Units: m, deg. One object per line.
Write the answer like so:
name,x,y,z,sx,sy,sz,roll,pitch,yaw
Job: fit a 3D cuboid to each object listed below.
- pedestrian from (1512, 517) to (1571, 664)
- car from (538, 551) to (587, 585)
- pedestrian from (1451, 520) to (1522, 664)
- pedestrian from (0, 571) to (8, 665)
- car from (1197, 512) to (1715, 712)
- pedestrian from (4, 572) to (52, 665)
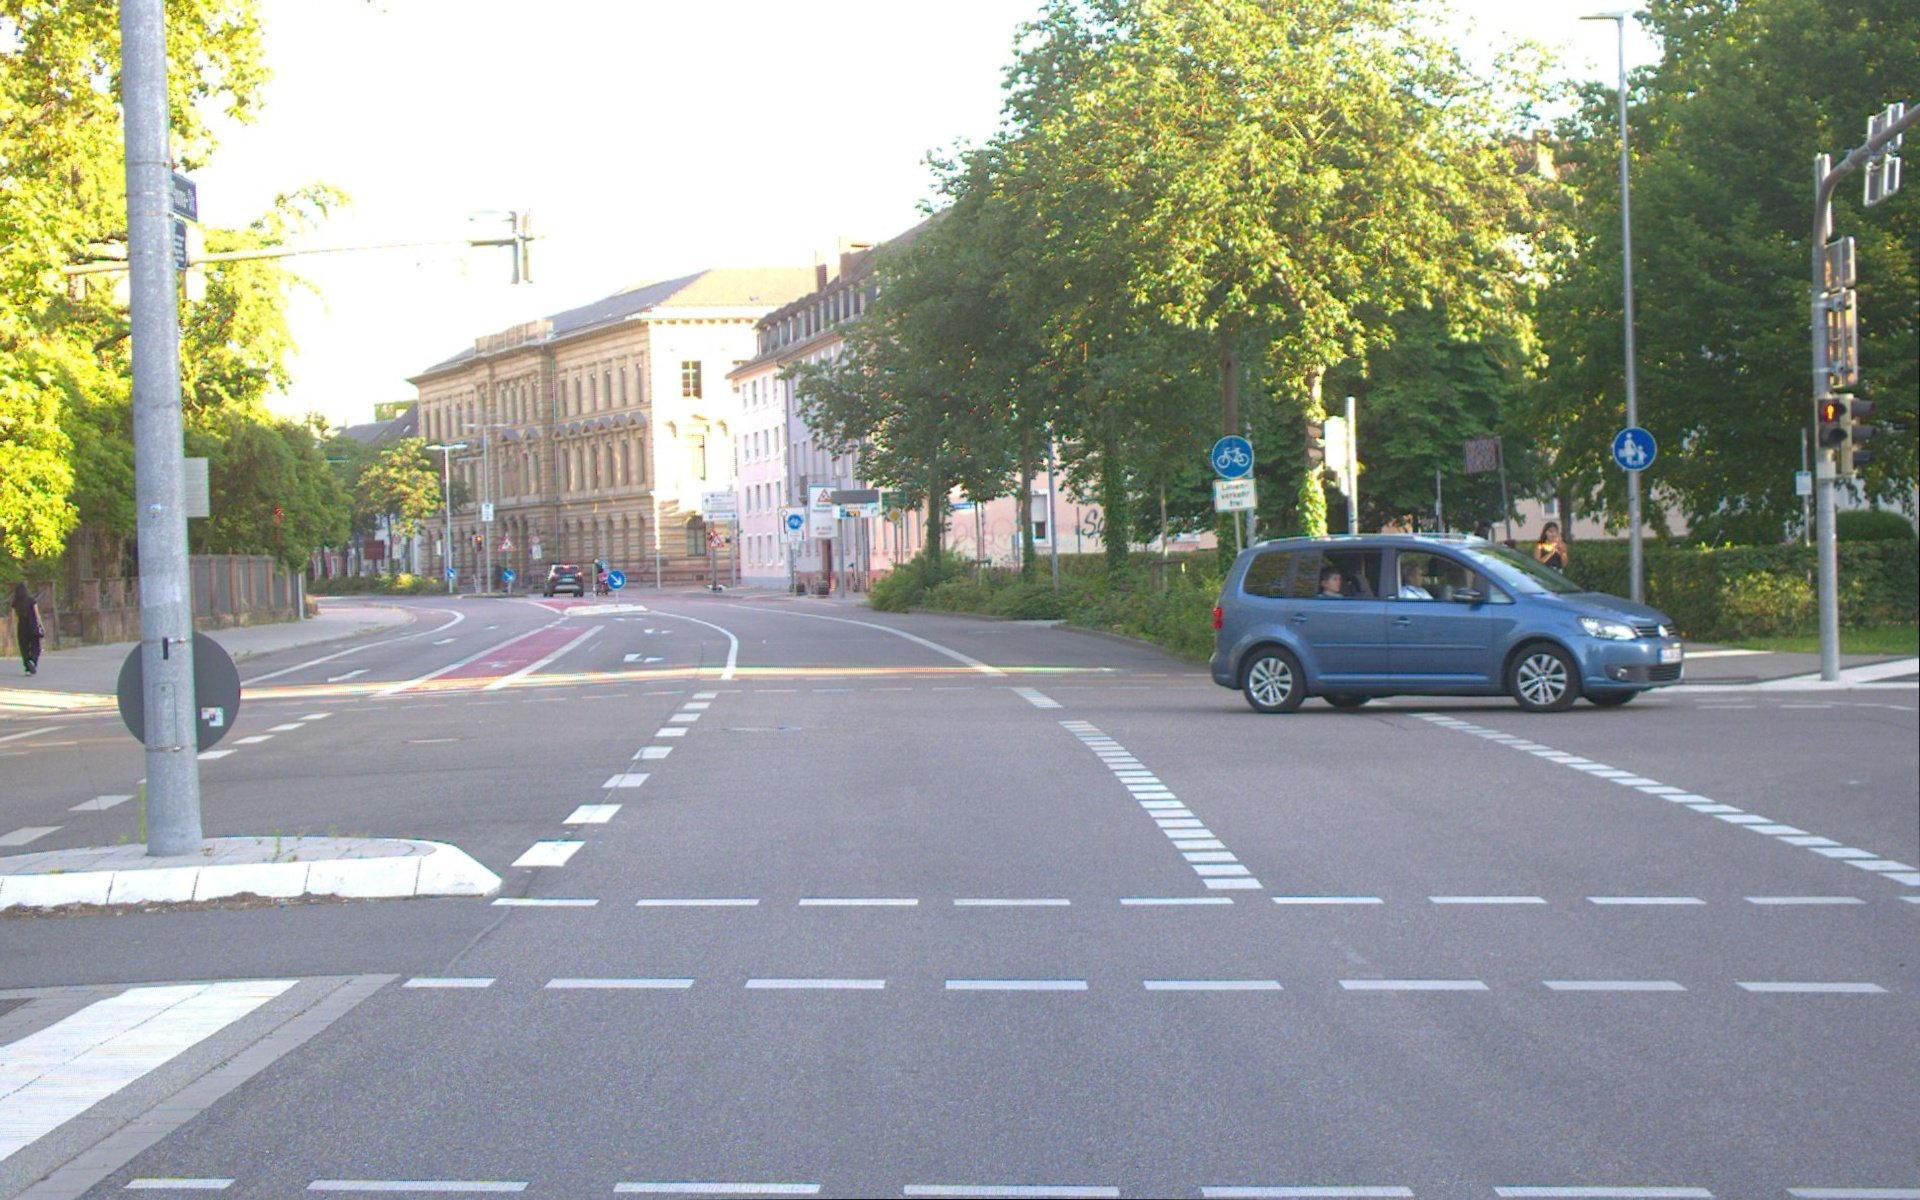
pedestrian,8.044,-0.133,47.581,0.635,2.007,0.720,-1,1,-4
car,-19.631,-1.561,169.728,1.819,1.583,4.001,-3,1,-14
pedestrian,7.393,-0.115,48.281,0.870,2.007,0.722,0,1,-1
pedestrian,-16.582,0.313,58.568,0.535,1.591,0.590,-2,1,-1
car,4.526,0.117,31.571,4.289,1.714,1.852,-1,1,33
pedestrian,-15.888,0.312,58.621,0.599,1.568,0.646,-2,1,-1
